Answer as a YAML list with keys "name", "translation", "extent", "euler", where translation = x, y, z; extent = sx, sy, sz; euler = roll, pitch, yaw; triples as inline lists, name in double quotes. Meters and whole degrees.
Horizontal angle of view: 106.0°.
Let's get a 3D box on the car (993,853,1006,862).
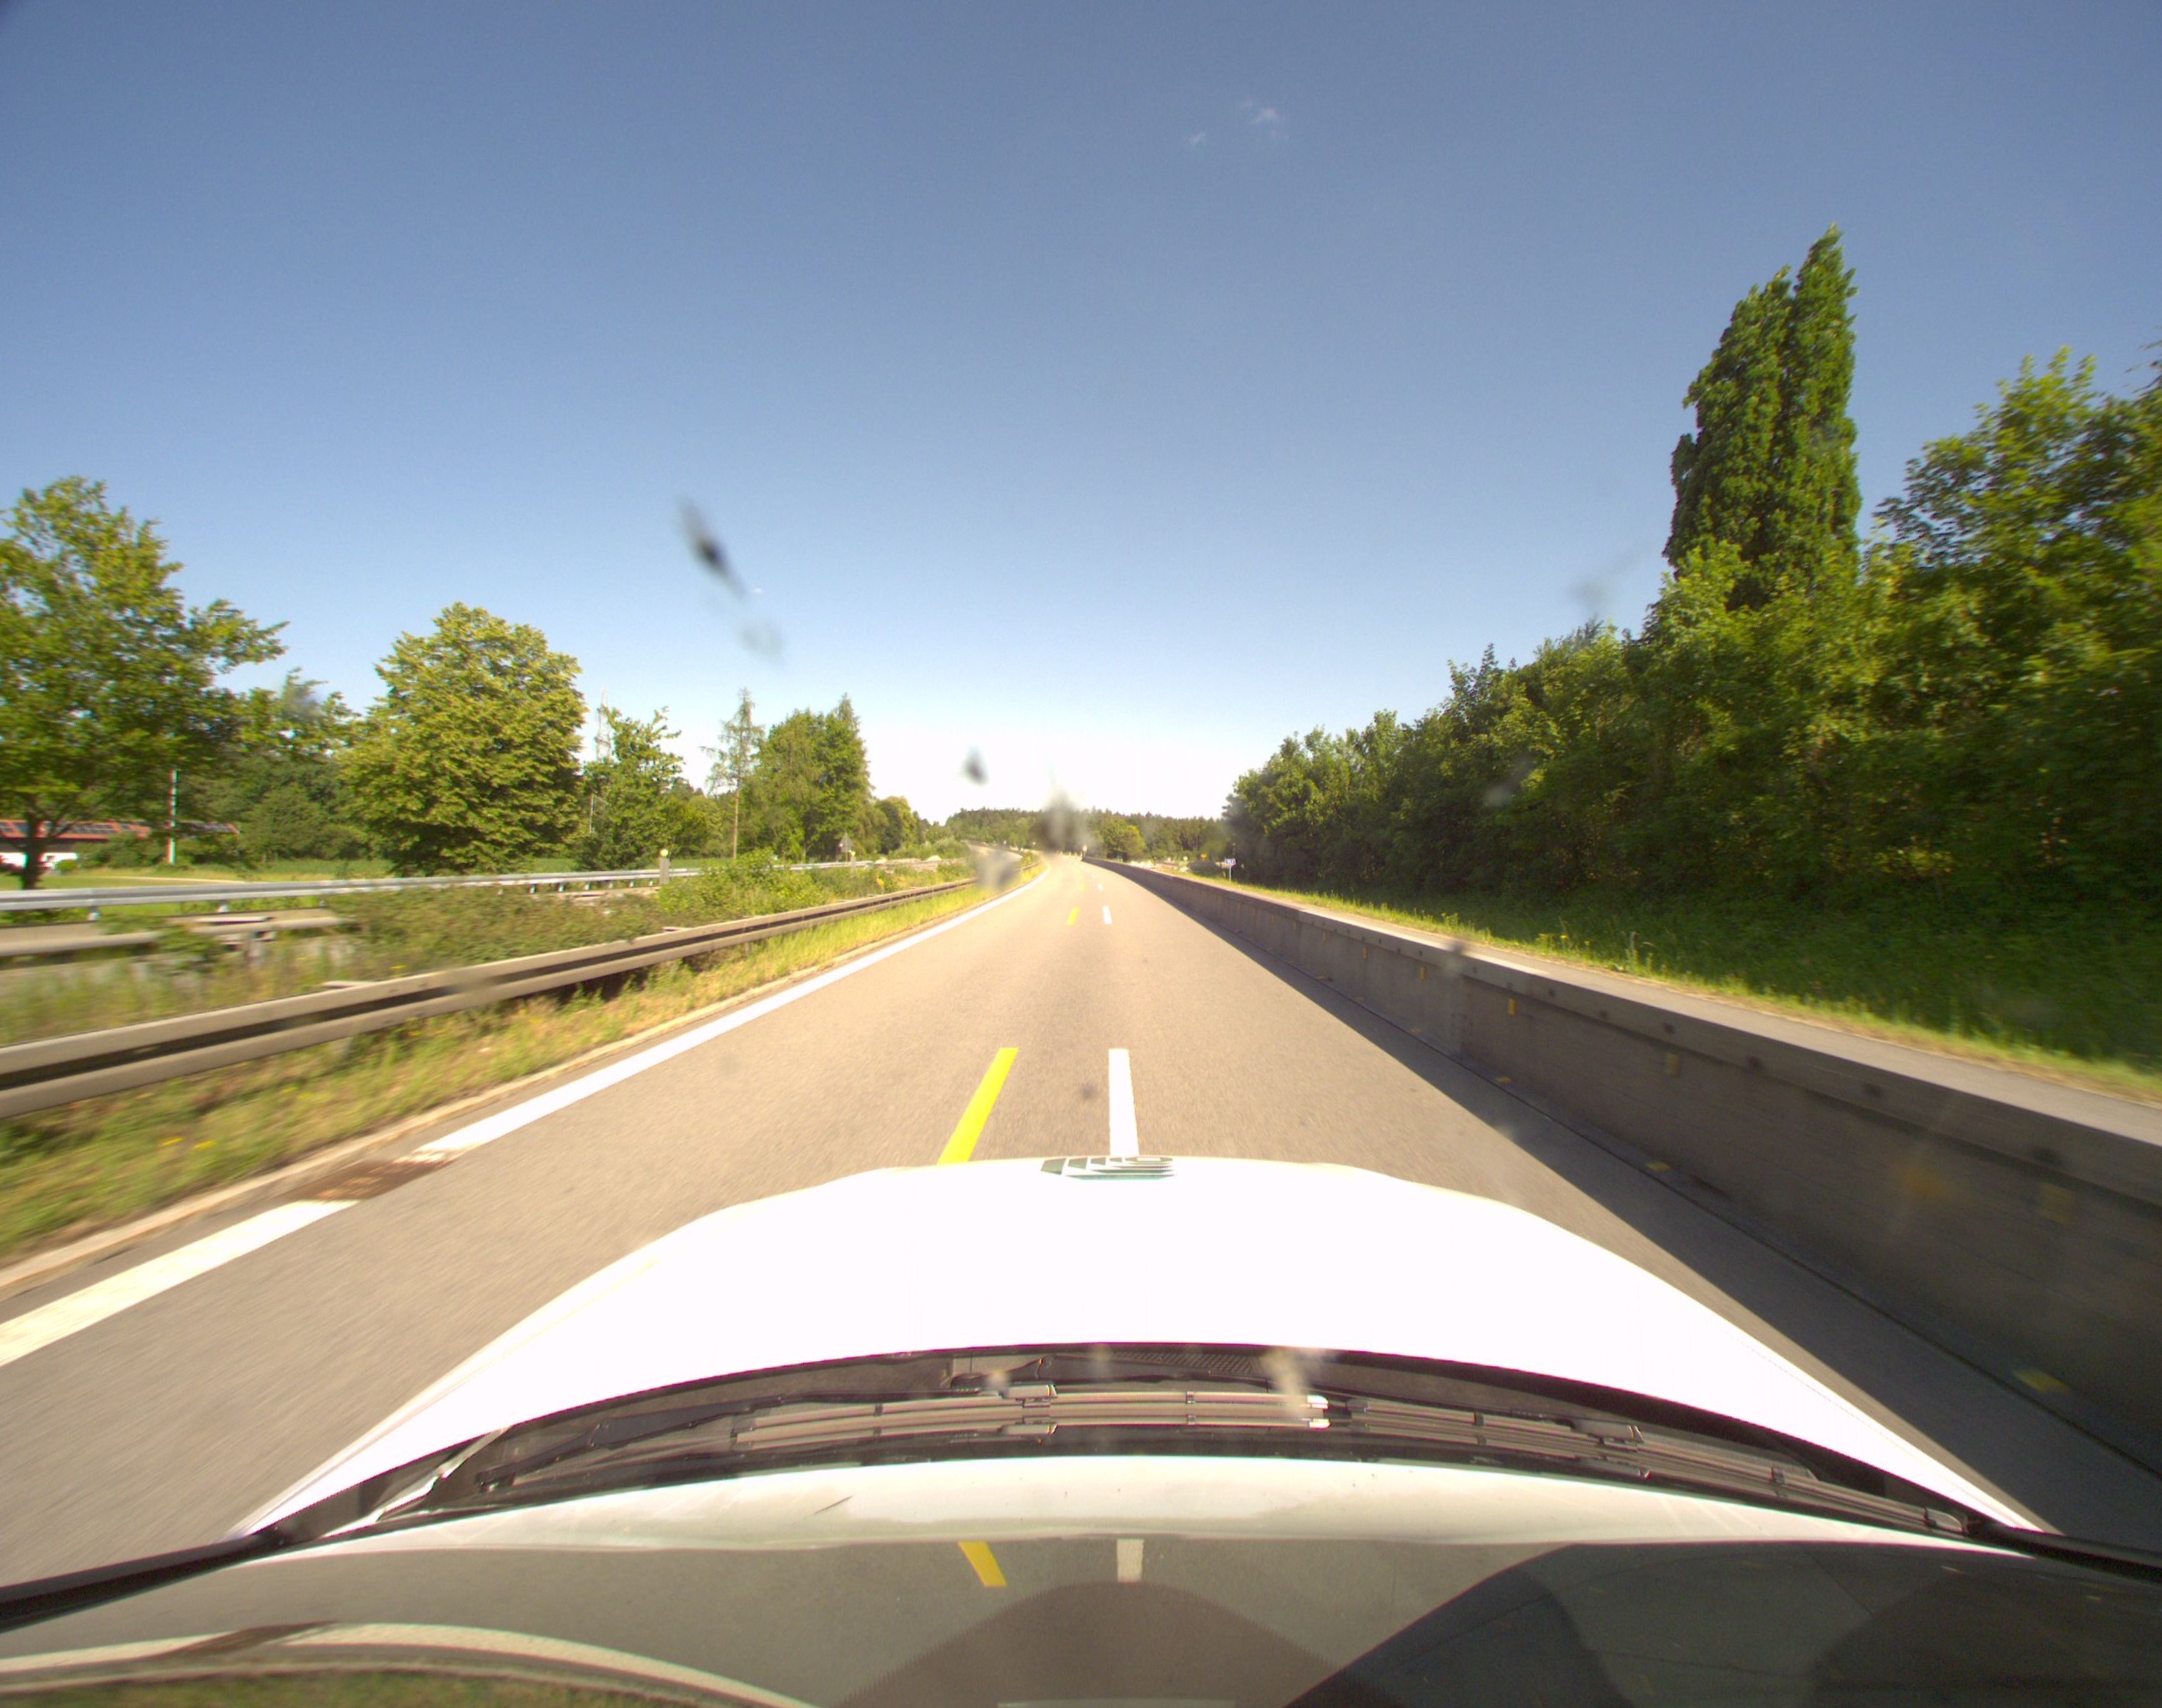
- name: "car"
  translation: [-13.958, 0.642, 139.568]
  extent: [1.755, 1.511, 4.531]
  euler: [0, 0, -2]
